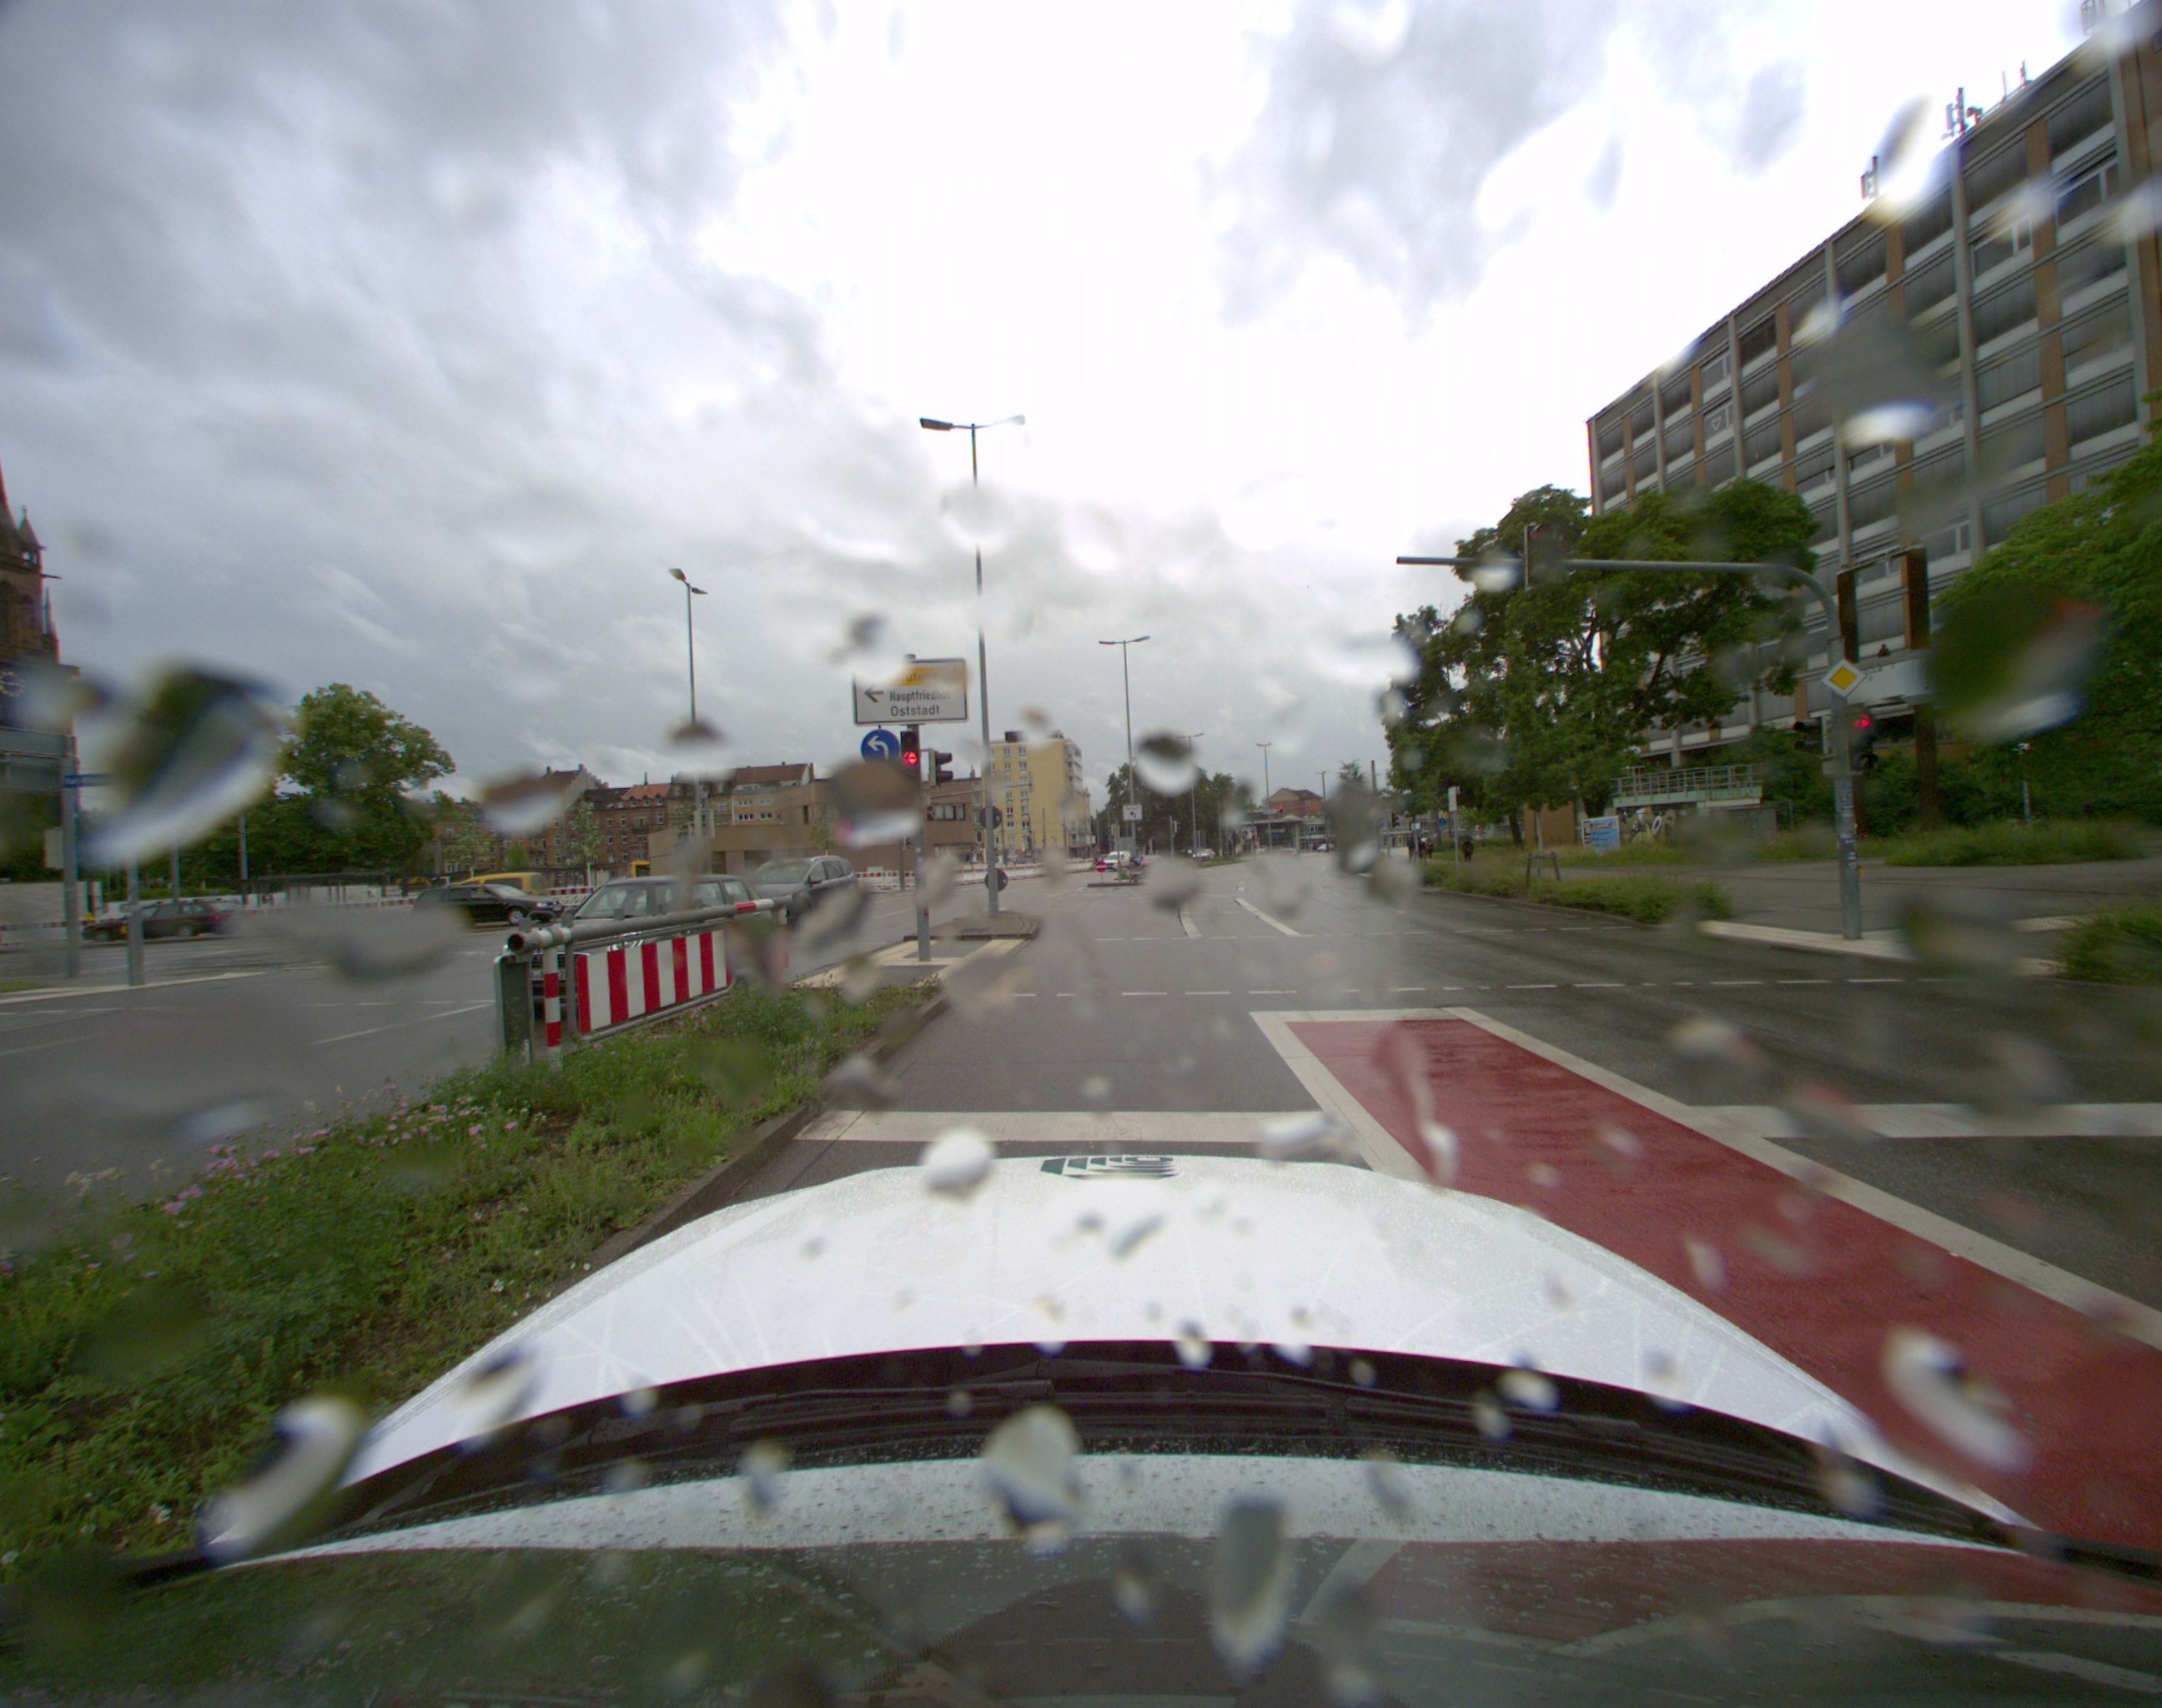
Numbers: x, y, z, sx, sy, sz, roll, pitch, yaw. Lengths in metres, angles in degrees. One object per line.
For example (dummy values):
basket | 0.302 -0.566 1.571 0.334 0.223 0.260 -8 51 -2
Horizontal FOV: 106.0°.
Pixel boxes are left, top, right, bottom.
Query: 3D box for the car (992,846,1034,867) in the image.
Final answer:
car | -11.801 0.443 141.992 6.711 3.380 2.813 -3 0 4

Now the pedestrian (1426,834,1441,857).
pedestrian | 24.321 -0.577 56.164 0.698 1.588 0.939 -3 0 12

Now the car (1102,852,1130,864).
car | 5.721 0.674 132.506 4.365 1.643 1.797 -3 0 2

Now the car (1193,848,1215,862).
car | 15.890 0.141 105.319 1.774 1.643 4.183 -3 0 23

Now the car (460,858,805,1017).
car | -5.293 0.867 10.376 1.764 1.376 4.125 -5 1 4

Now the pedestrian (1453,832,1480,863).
pedestrian | 20.491 -0.326 43.327 1.015 1.588 0.939 -3 0 12

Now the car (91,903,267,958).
car | -34.449 2.890 31.202 4.440 1.706 1.707 -3 0 -6

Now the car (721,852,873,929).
car | -7.183 0.839 21.185 1.763 1.678 4.777 -3 0 6

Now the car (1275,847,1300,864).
car | 21.949 0.092 86.493 1.774 1.643 4.183 -3 0 23

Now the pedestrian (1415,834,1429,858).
pedestrian | 23.663 -0.543 56.533 0.698 1.588 0.939 -3 0 12

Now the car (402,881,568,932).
car | -19.986 1.737 27.449 4.185 1.402 1.615 -3 0 -5

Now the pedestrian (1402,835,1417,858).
pedestrian | 22.971 -0.507 57.034 0.749 1.588 0.939 -3 0 12

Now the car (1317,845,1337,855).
car | 45.804 -0.819 151.640 1.773 1.643 4.184 -3 0 44

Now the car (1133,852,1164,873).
car | 5.968 0.752 71.229 1.776 1.643 4.065 -3 0 17

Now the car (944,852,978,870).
car | -21.091 1.216 142.846 5.326 2.887 2.342 -3 0 4

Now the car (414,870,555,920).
car | -23.715 1.613 32.510 4.134 1.706 1.707 -3 0 -6

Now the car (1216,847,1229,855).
car | 32.973 -0.700 189.473 1.773 1.643 4.184 -3 0 25

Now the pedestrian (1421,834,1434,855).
pedestrian | 26.185 -0.706 61.539 0.698 1.588 0.939 -3 0 12

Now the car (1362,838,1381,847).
car | 57.575 -2.291 161.345 4.184 1.643 1.773 -3 0 -44

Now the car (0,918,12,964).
car | -43.062 3.418 30.345 3.803 1.706 1.707 -3 0 -6

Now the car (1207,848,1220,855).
car | 30.943 -0.599 190.349 1.773 1.643 4.184 -3 0 25

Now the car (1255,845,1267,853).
car | 41.099 -1.129 185.801 1.773 1.643 4.184 -3 0 25

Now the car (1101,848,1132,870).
car | 3.415 0.441 77.179 1.776 1.858 4.178 -3 0 17
